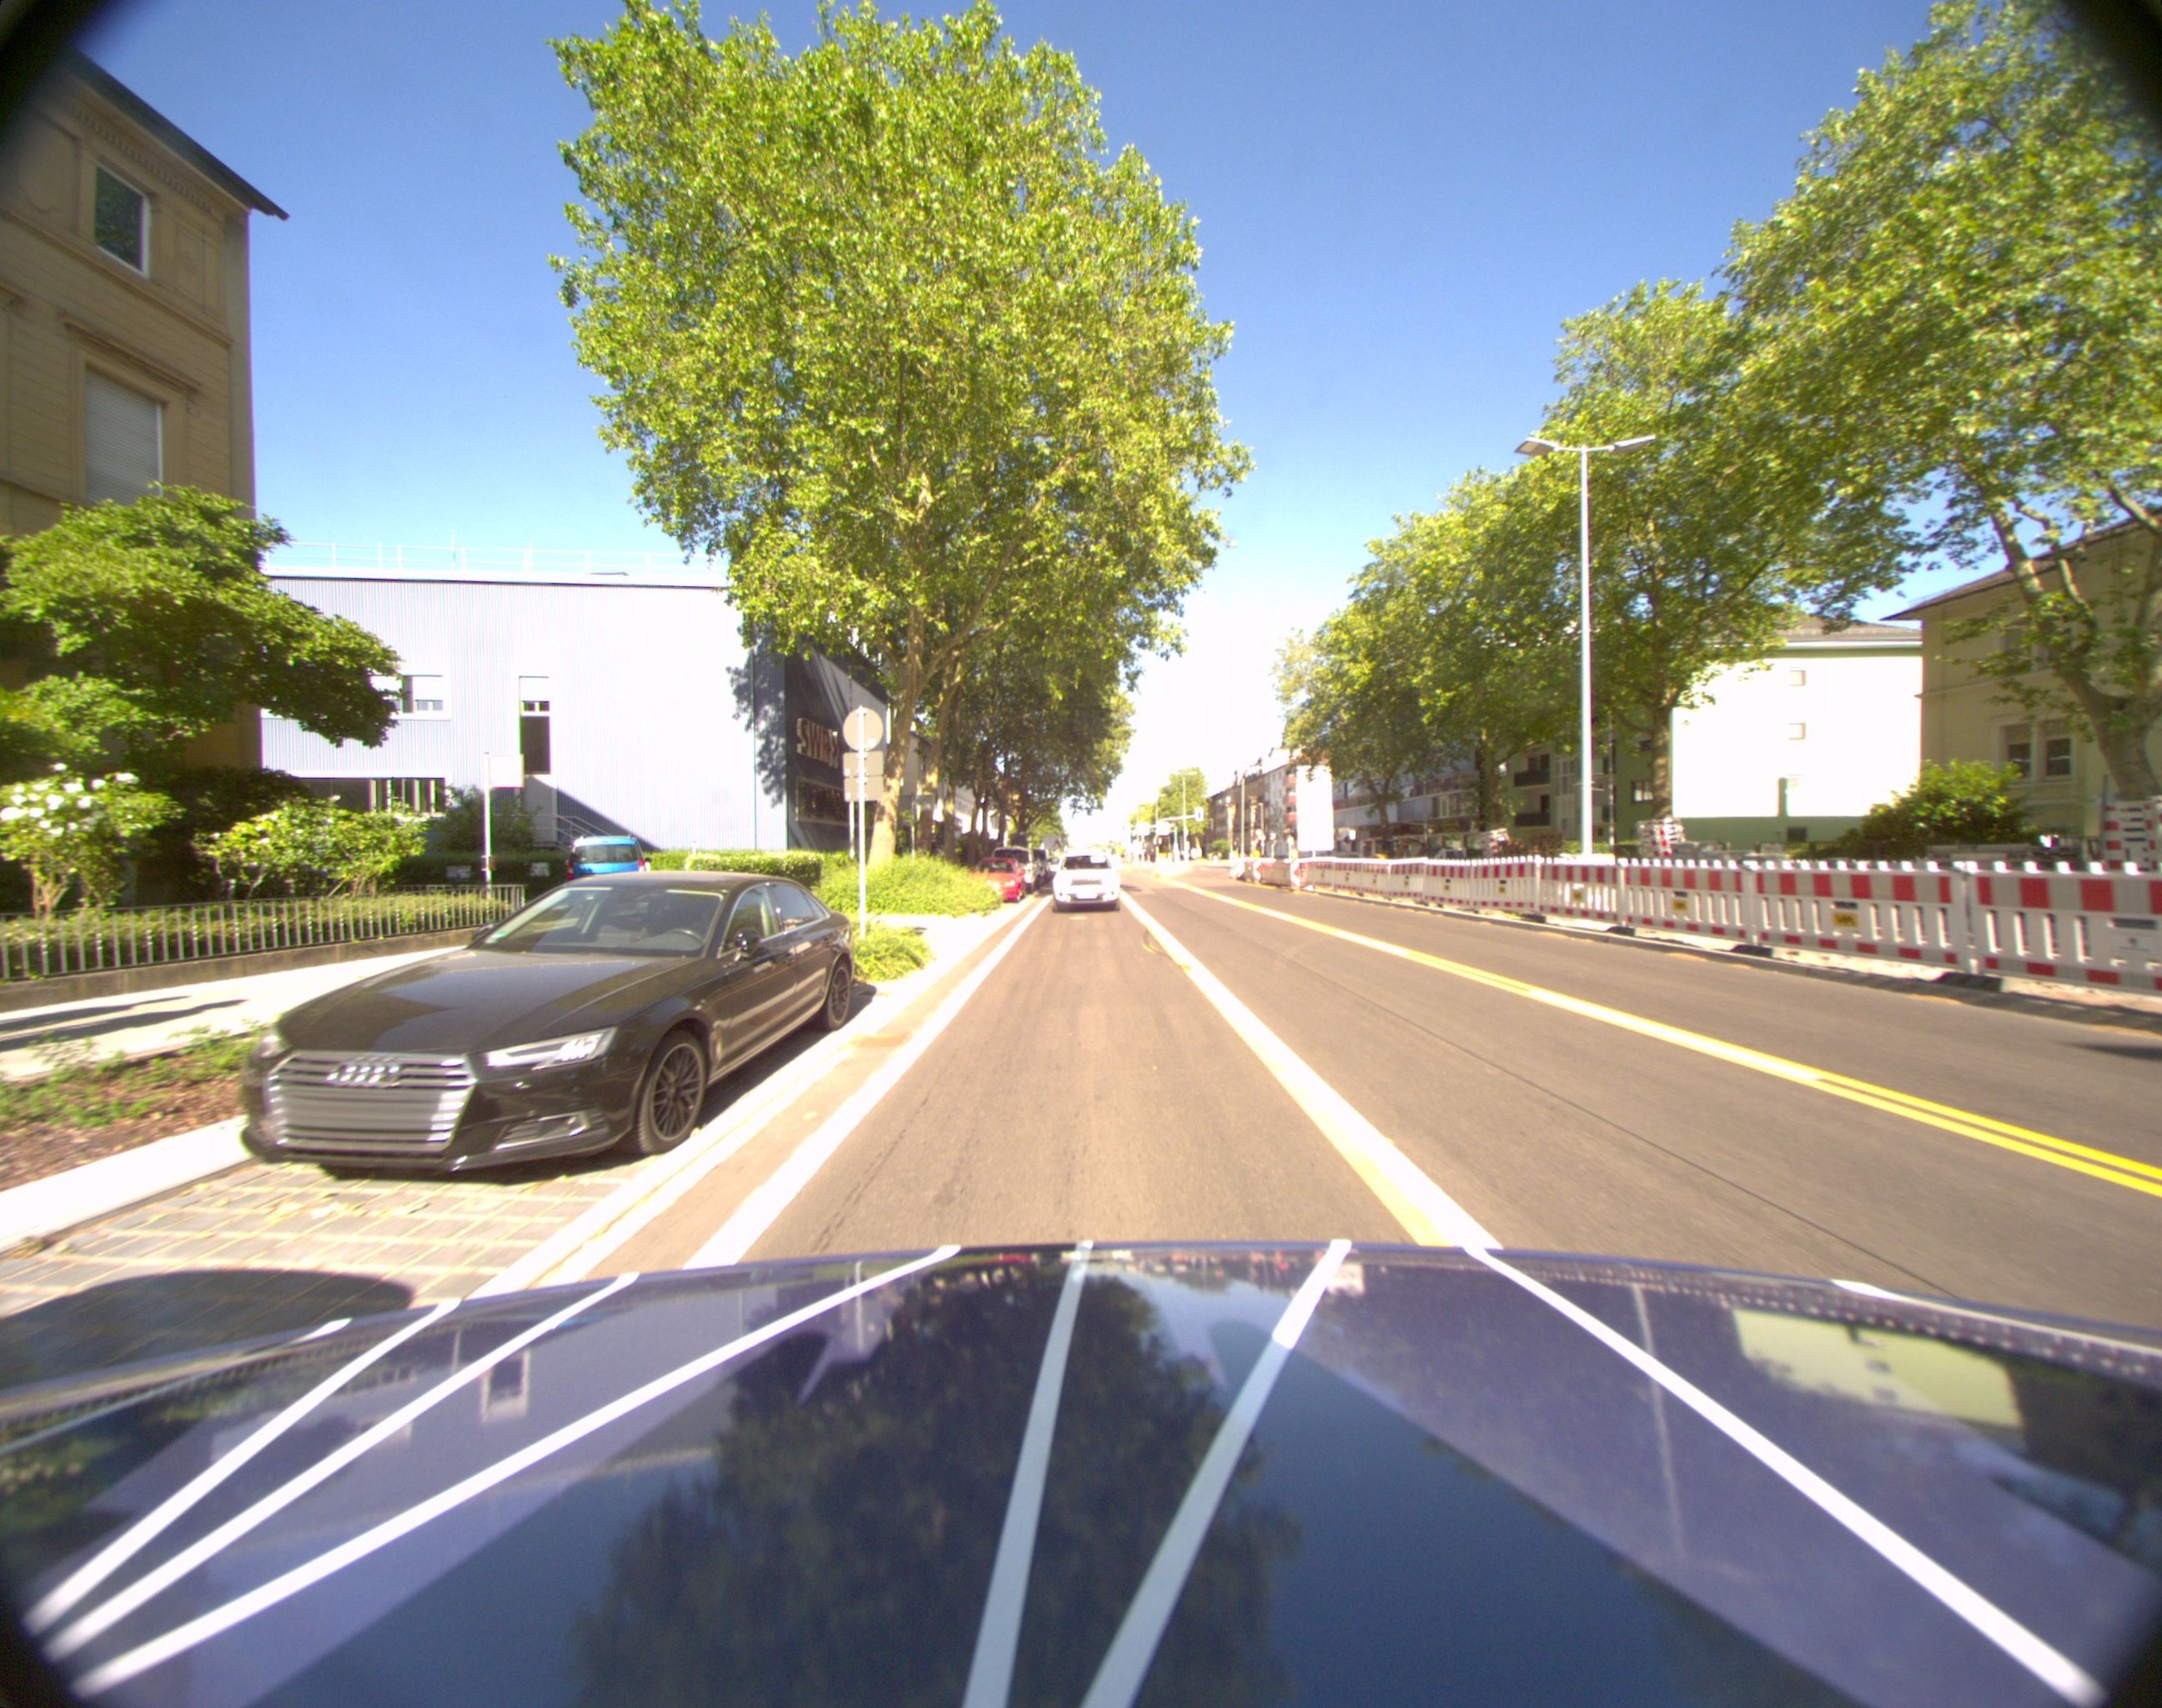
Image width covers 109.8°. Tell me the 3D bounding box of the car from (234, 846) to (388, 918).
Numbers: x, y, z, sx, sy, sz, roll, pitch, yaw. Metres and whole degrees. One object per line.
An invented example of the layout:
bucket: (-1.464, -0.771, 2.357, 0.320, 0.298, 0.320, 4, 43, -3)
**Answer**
car: (-19.738, 0.630, 19.694, 1.803, 1.629, 3.990, -2, 2, -31)

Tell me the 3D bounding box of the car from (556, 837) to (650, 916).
car: (-12.193, 0.483, 19.603, 1.803, 1.811, 3.990, -1, 1, -29)

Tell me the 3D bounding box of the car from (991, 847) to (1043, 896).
car: (-2.621, 0.671, 32.169, 1.753, 1.954, 4.506, 0, 0, 1)

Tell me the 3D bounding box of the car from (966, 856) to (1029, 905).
car: (-2.776, 0.852, 26.109, 1.674, 1.509, 3.997, 0, 0, 1)

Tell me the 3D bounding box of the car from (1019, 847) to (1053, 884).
car: (-2.490, 0.605, 43.108, 1.631, 1.997, 4.220, 0, 0, 1)

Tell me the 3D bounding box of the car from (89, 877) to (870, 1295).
car: (-2.976, 0.975, 5.199, 1.720, 1.404, 4.476, 2, 0, 1)

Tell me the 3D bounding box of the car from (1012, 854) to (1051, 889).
car: (-2.387, 0.805, 37.529, 1.631, 1.625, 4.220, 0, 0, 1)

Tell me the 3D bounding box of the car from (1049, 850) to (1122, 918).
car: (0.141, 0.777, 22.191, 1.868, 1.716, 4.506, -2, 0, 1)
